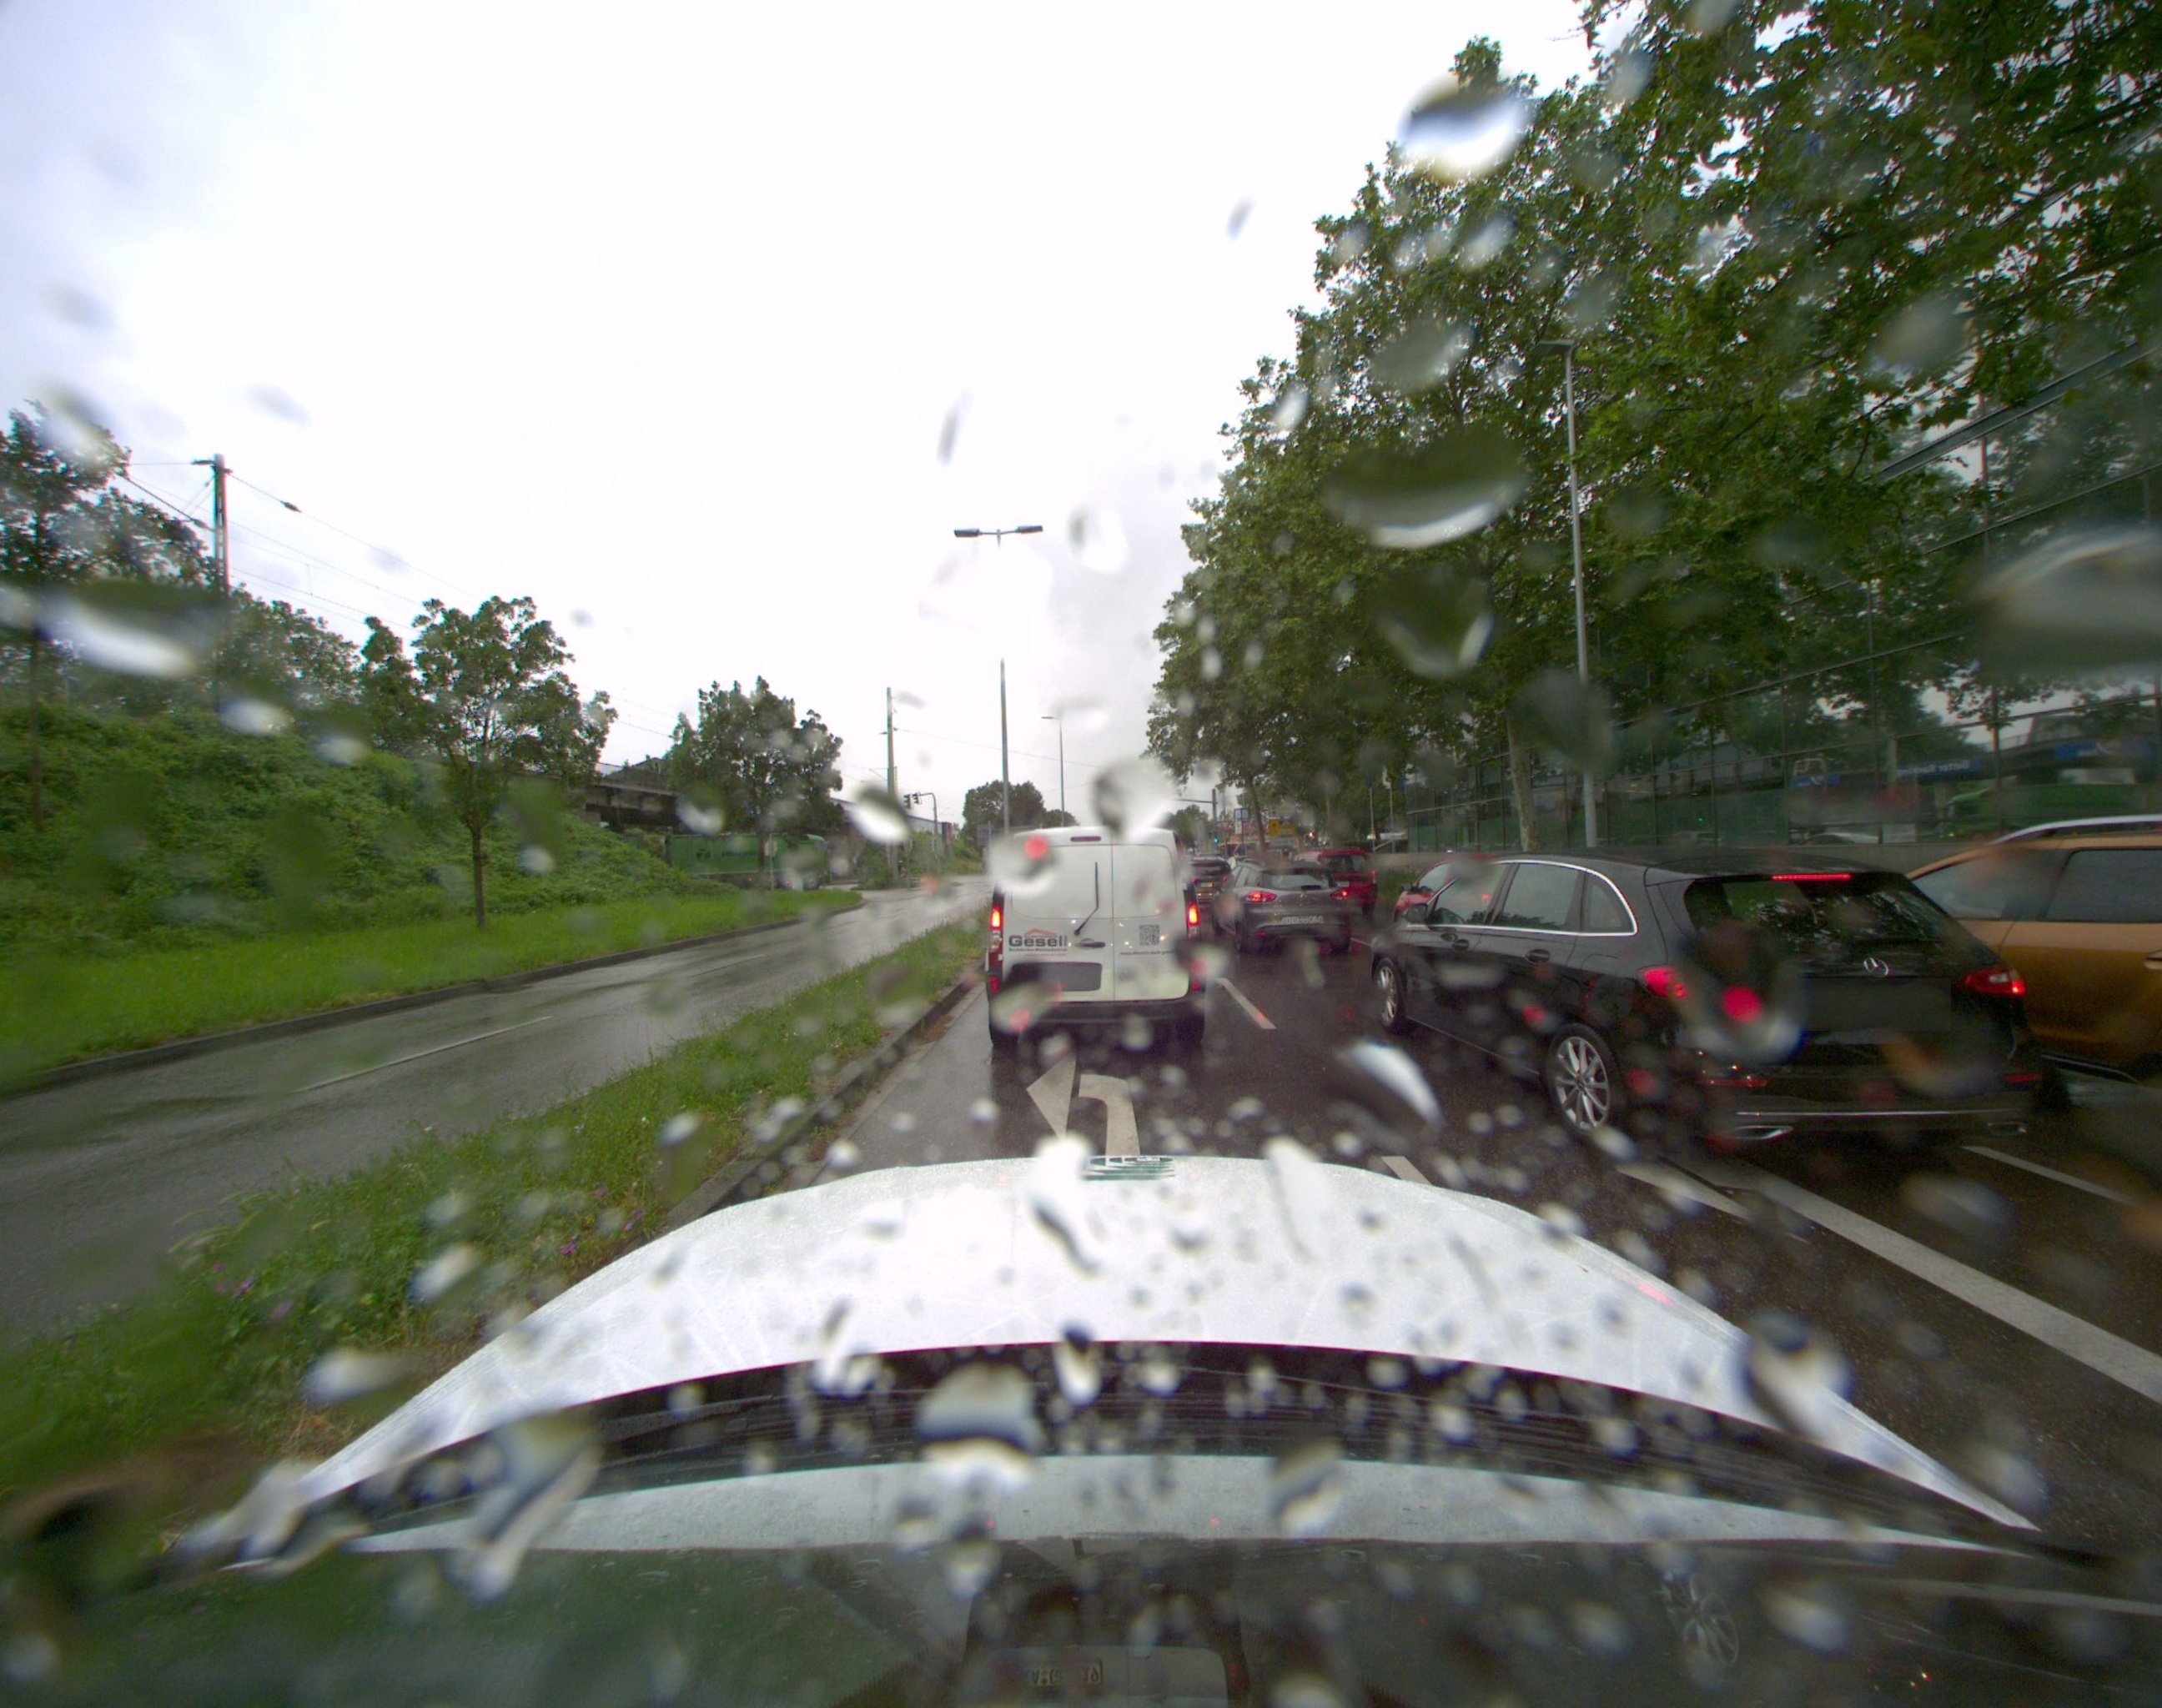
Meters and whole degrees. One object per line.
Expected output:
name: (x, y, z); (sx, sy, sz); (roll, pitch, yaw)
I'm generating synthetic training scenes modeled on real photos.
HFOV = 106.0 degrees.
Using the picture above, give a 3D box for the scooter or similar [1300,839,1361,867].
scooter or similar: (23.453, -0.056, 76.688); (1.905, 2.446, 5.257); (-1, 0, -39)

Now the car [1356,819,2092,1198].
car: (3.378, 0.648, 5.453); (1.741, 1.554, 4.091); (-1, 0, 1)

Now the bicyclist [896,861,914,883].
bicyclist: (-12.107, 1.238, 55.949); (1.045, 1.450, 0.723); (-2, 0, -23)

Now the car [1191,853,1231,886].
car: (7.305, 0.816, 46.027); (1.701, 1.728, 3.844); (-1, 0, 2)

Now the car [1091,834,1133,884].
car: (1.491, 0.223, 39.392); (1.847, 2.296, 3.844); (-1, 0, 2)

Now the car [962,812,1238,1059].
car: (0.212, 0.594, 8.283); (1.986, 1.776, 4.587); (-1, 0, 2)

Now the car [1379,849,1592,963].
car: (5.914, 0.677, 12.352); (1.563, 1.462, 3.390); (-1, 0, 1)

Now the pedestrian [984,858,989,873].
pedestrian: (-11.237, 1.379, 96.564); (0.541, 1.716, 0.563); (0, -1, -2)

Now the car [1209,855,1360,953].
car: (3.273, 0.731, 13.812); (1.677, 1.408, 3.844); (0, 0, 1)

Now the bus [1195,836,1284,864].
bus: (22.198, -0.529, 114.557); (11.939, 3.423, 2.481); (-2, 0, -2)

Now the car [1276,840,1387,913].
car: (6.389, 0.561, 21.262); (1.704, 1.694, 4.273); (0, -1, 2)

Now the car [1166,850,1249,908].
car: (3.520, 0.649, 23.253); (1.847, 1.460, 3.844); (-1, 0, 2)

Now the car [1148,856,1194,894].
car: (4.195, 0.932, 38.601); (1.847, 1.649, 3.844); (-1, 0, 2)

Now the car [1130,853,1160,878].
car: (4.486, 0.807, 57.395); (1.847, 1.650, 3.844); (-1, -1, 2)

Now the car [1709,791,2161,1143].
car: (6.048, 0.538, 4.756); (1.668, 1.685, 4.149); (0, 1, 2)

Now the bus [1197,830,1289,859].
bus: (21.896, -1.341, 110.594); (11.926, 3.423, 2.316); (-2, 0, 1)

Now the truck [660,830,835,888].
truck: (-21.253, 0.245, 52.339); (10.105, 3.371, 2.322); (-2, 0, -35)

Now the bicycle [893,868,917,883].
bicycle: (-12.133, 1.460, 56.021); (1.045, 0.952, 2.866); (-2, 0, -22)
